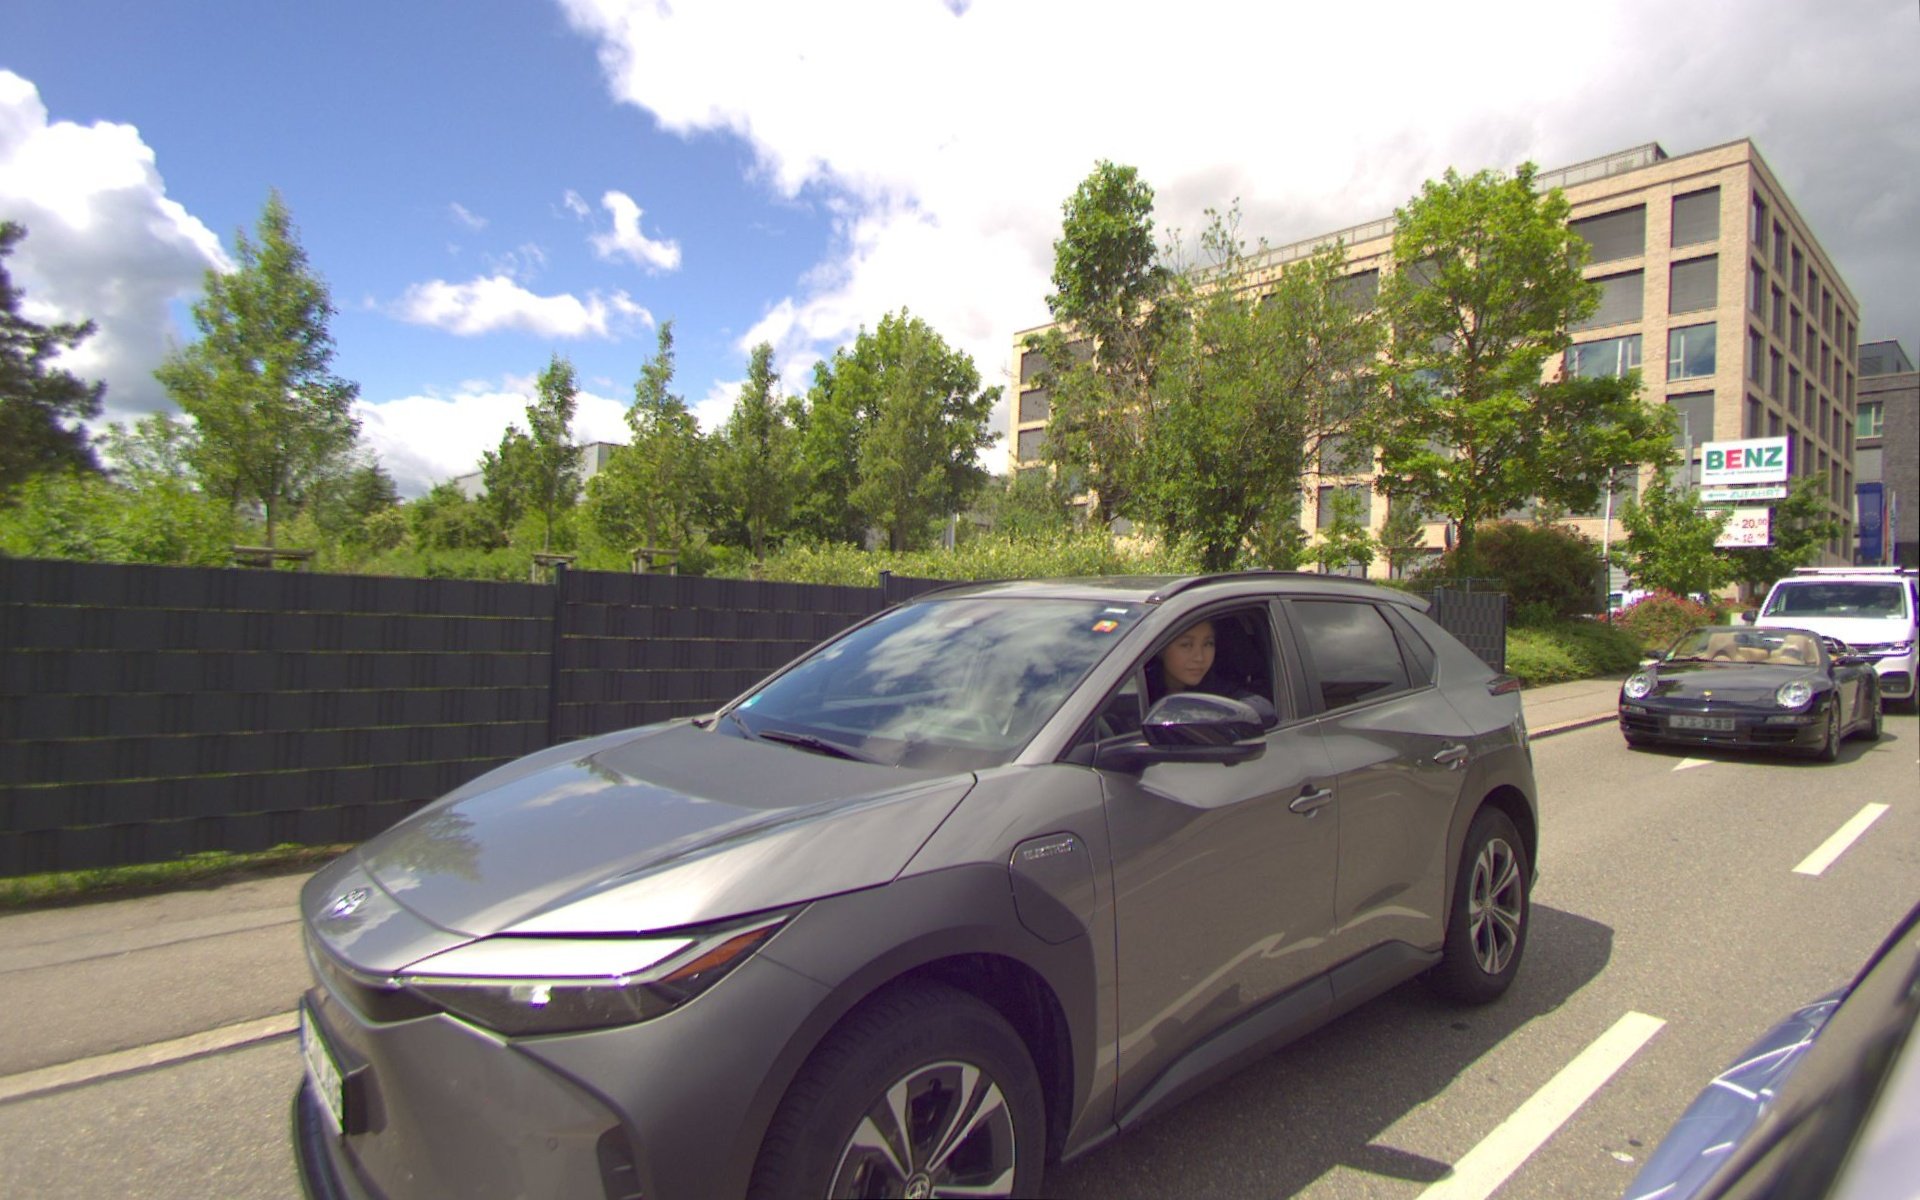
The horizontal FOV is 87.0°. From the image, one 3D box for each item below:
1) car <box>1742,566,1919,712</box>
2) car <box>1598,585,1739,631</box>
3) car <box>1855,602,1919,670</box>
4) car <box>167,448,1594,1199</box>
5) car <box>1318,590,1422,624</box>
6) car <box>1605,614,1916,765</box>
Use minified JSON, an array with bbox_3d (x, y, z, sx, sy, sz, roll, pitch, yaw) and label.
[{"bbox_3d":[13.518,0.518,15.178,4.563,1.874,1.962,0,-1,-41],"label":"car"},{"bbox_3d":[27.464,0.263,39.318,1.707,1.596,4.211,1,1,-44],"label":"car"},{"bbox_3d":[20.502,0.724,21.234,4.485,1.290,1.778,0,1,-38],"label":"car"},{"bbox_3d":[0.280,0.653,3.440,4.601,1.634,1.922,0,-1,-41],"label":"car"},{"bbox_3d":[19.316,0.302,47.786,1.705,1.436,4.215,1,1,-41],"label":"car"},{"bbox_3d":[8.790,0.809,10.968,4.487,1.290,1.776,0,-1,-40],"label":"car"}]
